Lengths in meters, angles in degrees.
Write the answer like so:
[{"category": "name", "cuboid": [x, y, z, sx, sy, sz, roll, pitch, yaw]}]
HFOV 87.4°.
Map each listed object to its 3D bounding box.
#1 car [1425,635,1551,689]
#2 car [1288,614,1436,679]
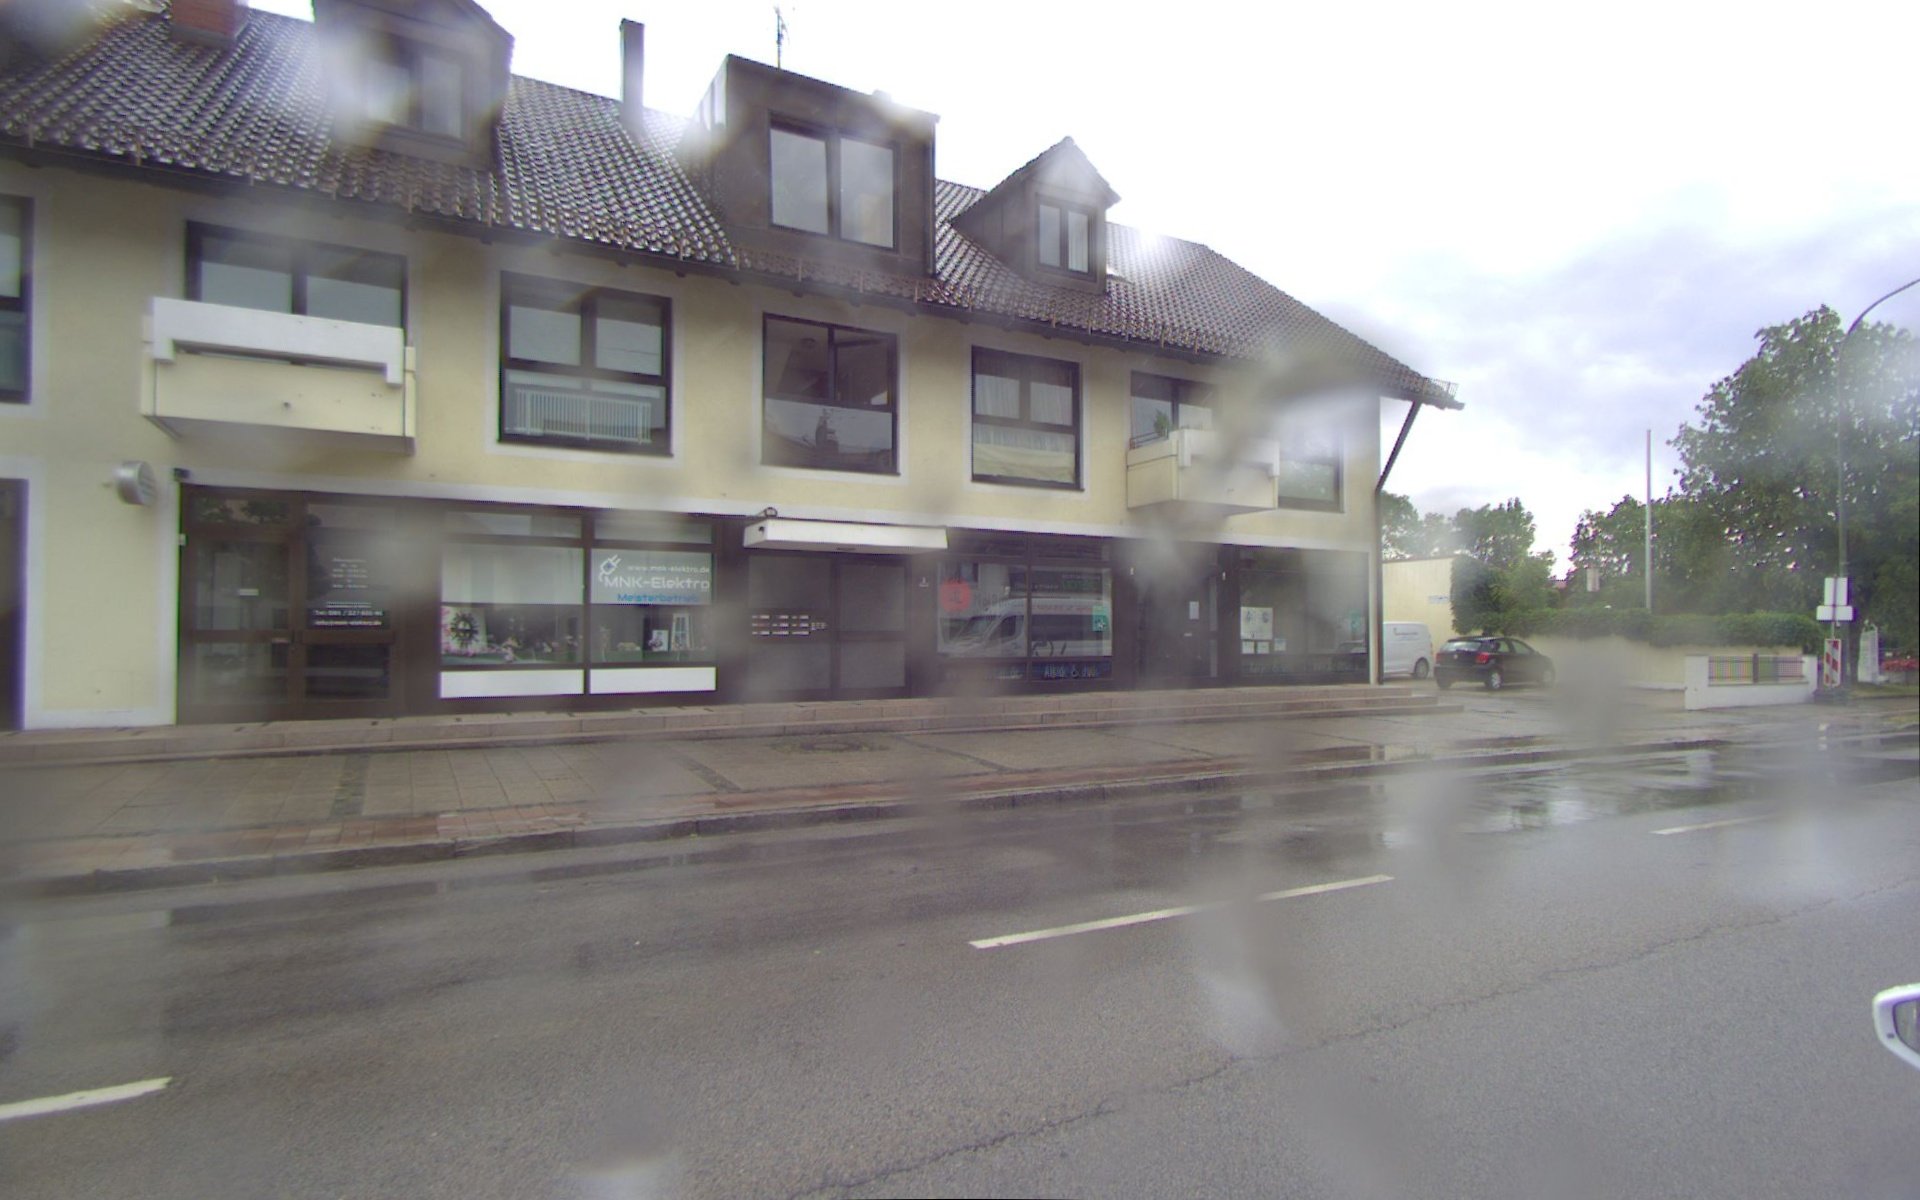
[{"category": "car", "cuboid": [14.704, 1.704, 27.950, 3.470, 1.398, 1.598, 2, -3, -32]}, {"category": "car", "cuboid": [12.906, 1.503, 32.215, 4.682, 1.944, 1.955, 2, -3, -31]}]
